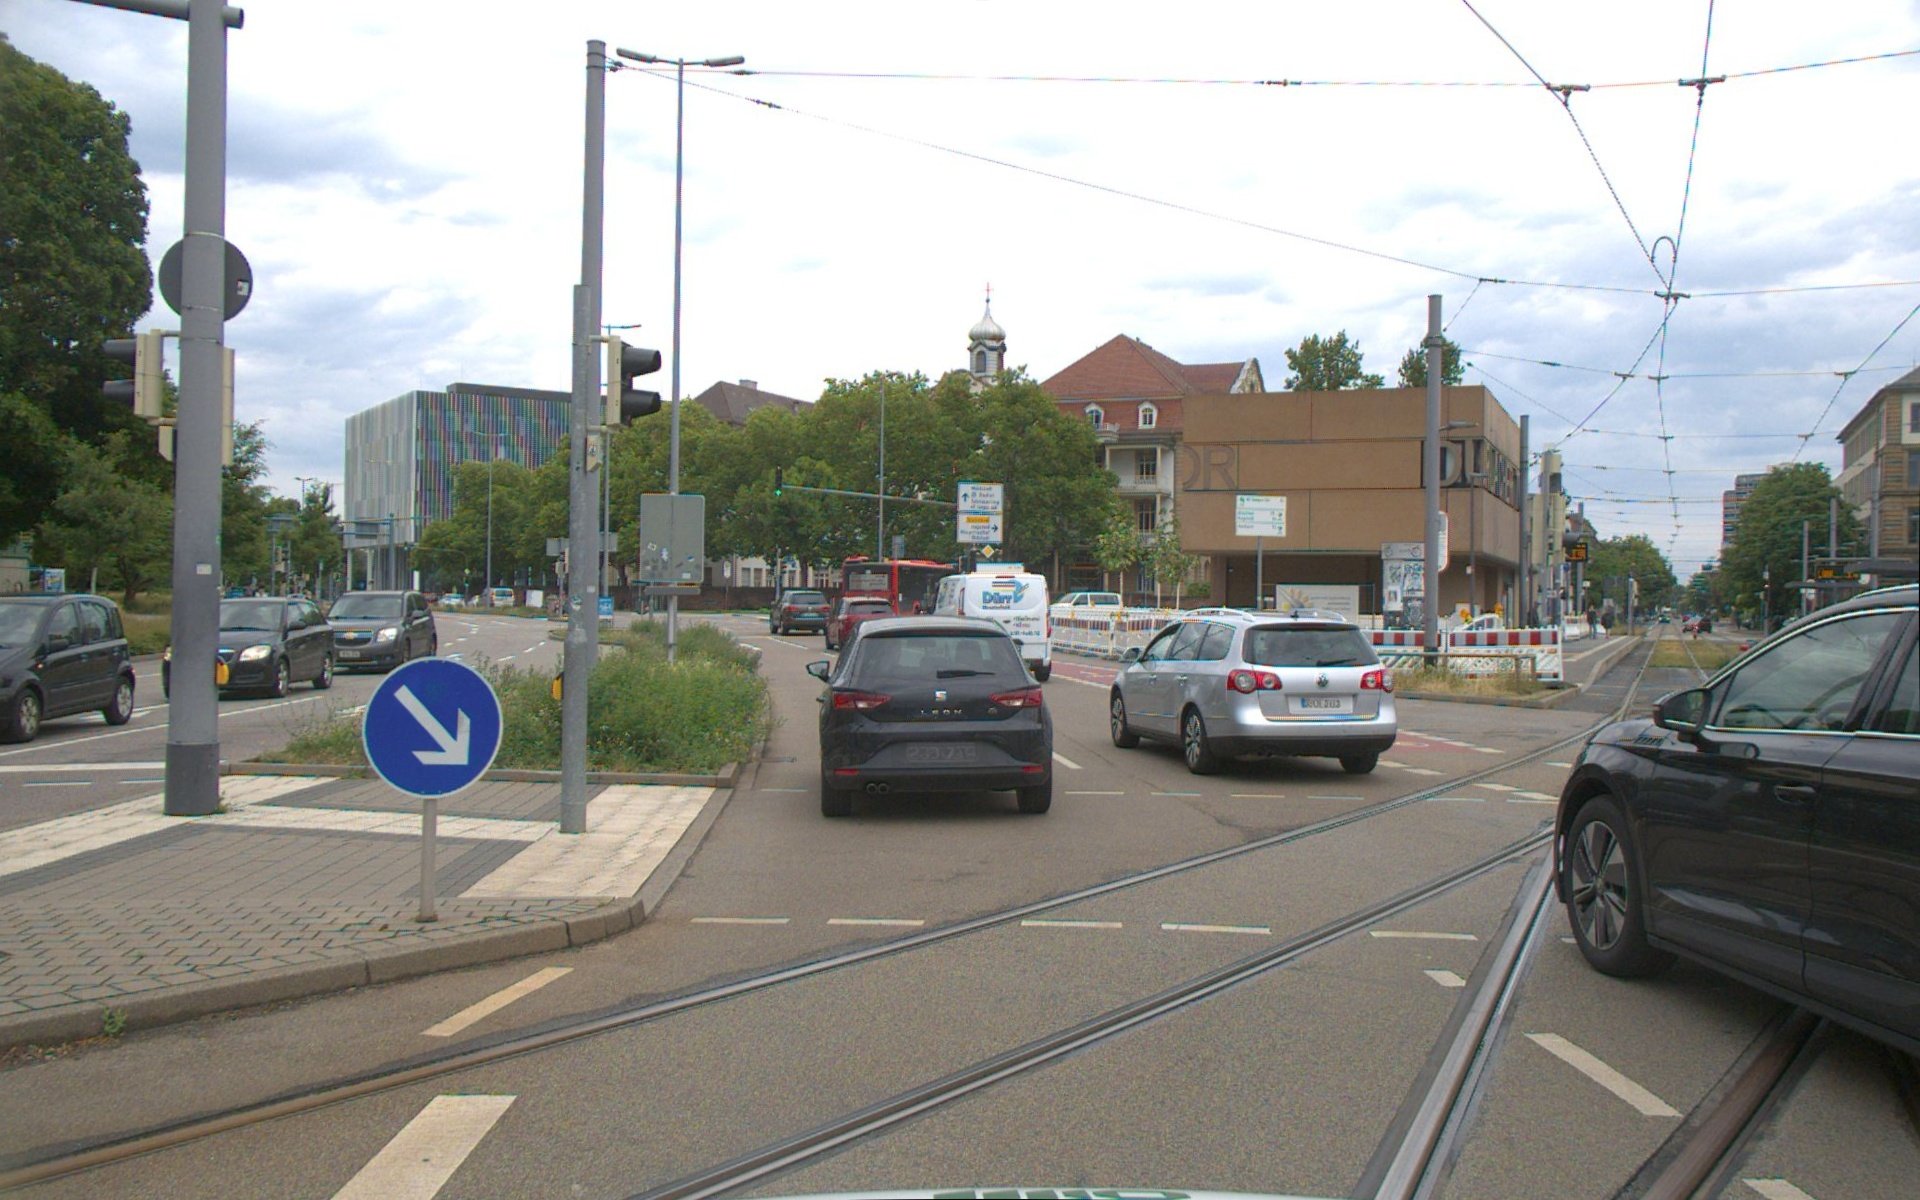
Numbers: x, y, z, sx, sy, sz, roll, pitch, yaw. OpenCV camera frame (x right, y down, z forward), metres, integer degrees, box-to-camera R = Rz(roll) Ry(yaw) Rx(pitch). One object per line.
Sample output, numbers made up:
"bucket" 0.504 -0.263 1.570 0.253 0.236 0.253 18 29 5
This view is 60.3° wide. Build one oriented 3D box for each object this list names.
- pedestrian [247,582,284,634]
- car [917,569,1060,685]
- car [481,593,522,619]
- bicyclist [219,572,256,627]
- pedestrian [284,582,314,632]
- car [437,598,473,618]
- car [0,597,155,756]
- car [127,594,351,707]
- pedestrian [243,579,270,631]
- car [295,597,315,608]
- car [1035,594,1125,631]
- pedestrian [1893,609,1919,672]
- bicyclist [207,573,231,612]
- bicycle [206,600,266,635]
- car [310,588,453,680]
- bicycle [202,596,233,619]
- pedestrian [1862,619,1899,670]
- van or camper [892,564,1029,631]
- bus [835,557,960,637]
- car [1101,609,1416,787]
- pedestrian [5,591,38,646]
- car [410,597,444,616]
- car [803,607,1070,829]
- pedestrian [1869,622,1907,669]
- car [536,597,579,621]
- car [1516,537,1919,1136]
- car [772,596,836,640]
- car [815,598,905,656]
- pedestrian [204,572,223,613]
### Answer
"pedestrian" -25.639 0.302 61.062 1.029 1.875 0.864 1 -1 -10
"car" 0.458 0.510 32.172 1.956 2.054 5.022 1 -1 -8
"car" -36.087 0.457 130.035 1.976 2.049 3.953 1 0 -34
"bicyclist" -25.075 0.000 57.396 0.773 1.876 0.834 1 -1 20
"pedestrian" -25.206 0.264 63.059 0.877 1.875 0.666 1 -1 -10
"car" -43.401 0.649 142.015 1.975 1.668 3.955 1 0 -33
"car" -10.214 0.755 17.805 1.587 1.542 3.660 0 -1 -6
"car" -10.896 0.720 25.360 1.834 1.534 4.473 -1 0 -6
"pedestrian" -25.395 0.187 59.728 0.743 1.875 0.764 0 -1 -10
"car" -76.896 0.287 194.165 1.694 1.287 3.305 1 0 -30
"car" 6.849 0.718 94.164 4.938 1.897 1.978 2 -4 -32
"pedestrian" 27.819 1.182 48.436 0.808 1.840 1.019 1 -1 29
"bicyclist" -30.368 -0.303 67.770 0.702 1.598 0.710 2 -1 -12
"bicycle" -25.098 0.625 57.339 0.772 1.179 1.907 1 -1 20
"car" -11.778 0.664 33.965 1.835 1.755 4.704 0 -1 -8
"bicycle" -30.363 0.320 67.642 0.702 0.898 1.878 2 -1 -11
"pedestrian" 29.829 1.438 53.608 0.998 1.603 1.006 1 -1 28
"van or camper" 0.055 -0.083 89.949 7.059 3.391 2.845 1 -2 -32
"bus" -2.691 -0.003 77.072 2.993 3.355 12.388 1 -1 11
"car" 2.762 0.849 16.437 1.688 1.508 4.619 0 0 -9
"pedestrian" -27.189 0.546 47.919 0.551 1.568 0.753 2 -1 -11
"car" -48.899 0.571 151.796 1.977 1.711 3.963 1 0 -34
"car" -0.339 0.817 13.332 1.713 1.490 3.993 0 0 -7
"pedestrian" 29.002 1.426 51.711 0.998 1.427 1.006 1 -1 29
"car" -29.750 0.652 122.273 1.899 1.713 3.955 1 0 -32
"car" 3.614 0.691 5.425 1.865 1.687 4.512 1 -1 -3
"car" -5.994 0.680 63.332 1.958 1.593 4.192 1 -1 -12
"car" -3.014 0.774 48.891 1.827 1.628 4.187 1 -1 -15
"pedestrian" -38.547 -0.385 85.428 0.743 2.049 1.041 1 -1 -19
